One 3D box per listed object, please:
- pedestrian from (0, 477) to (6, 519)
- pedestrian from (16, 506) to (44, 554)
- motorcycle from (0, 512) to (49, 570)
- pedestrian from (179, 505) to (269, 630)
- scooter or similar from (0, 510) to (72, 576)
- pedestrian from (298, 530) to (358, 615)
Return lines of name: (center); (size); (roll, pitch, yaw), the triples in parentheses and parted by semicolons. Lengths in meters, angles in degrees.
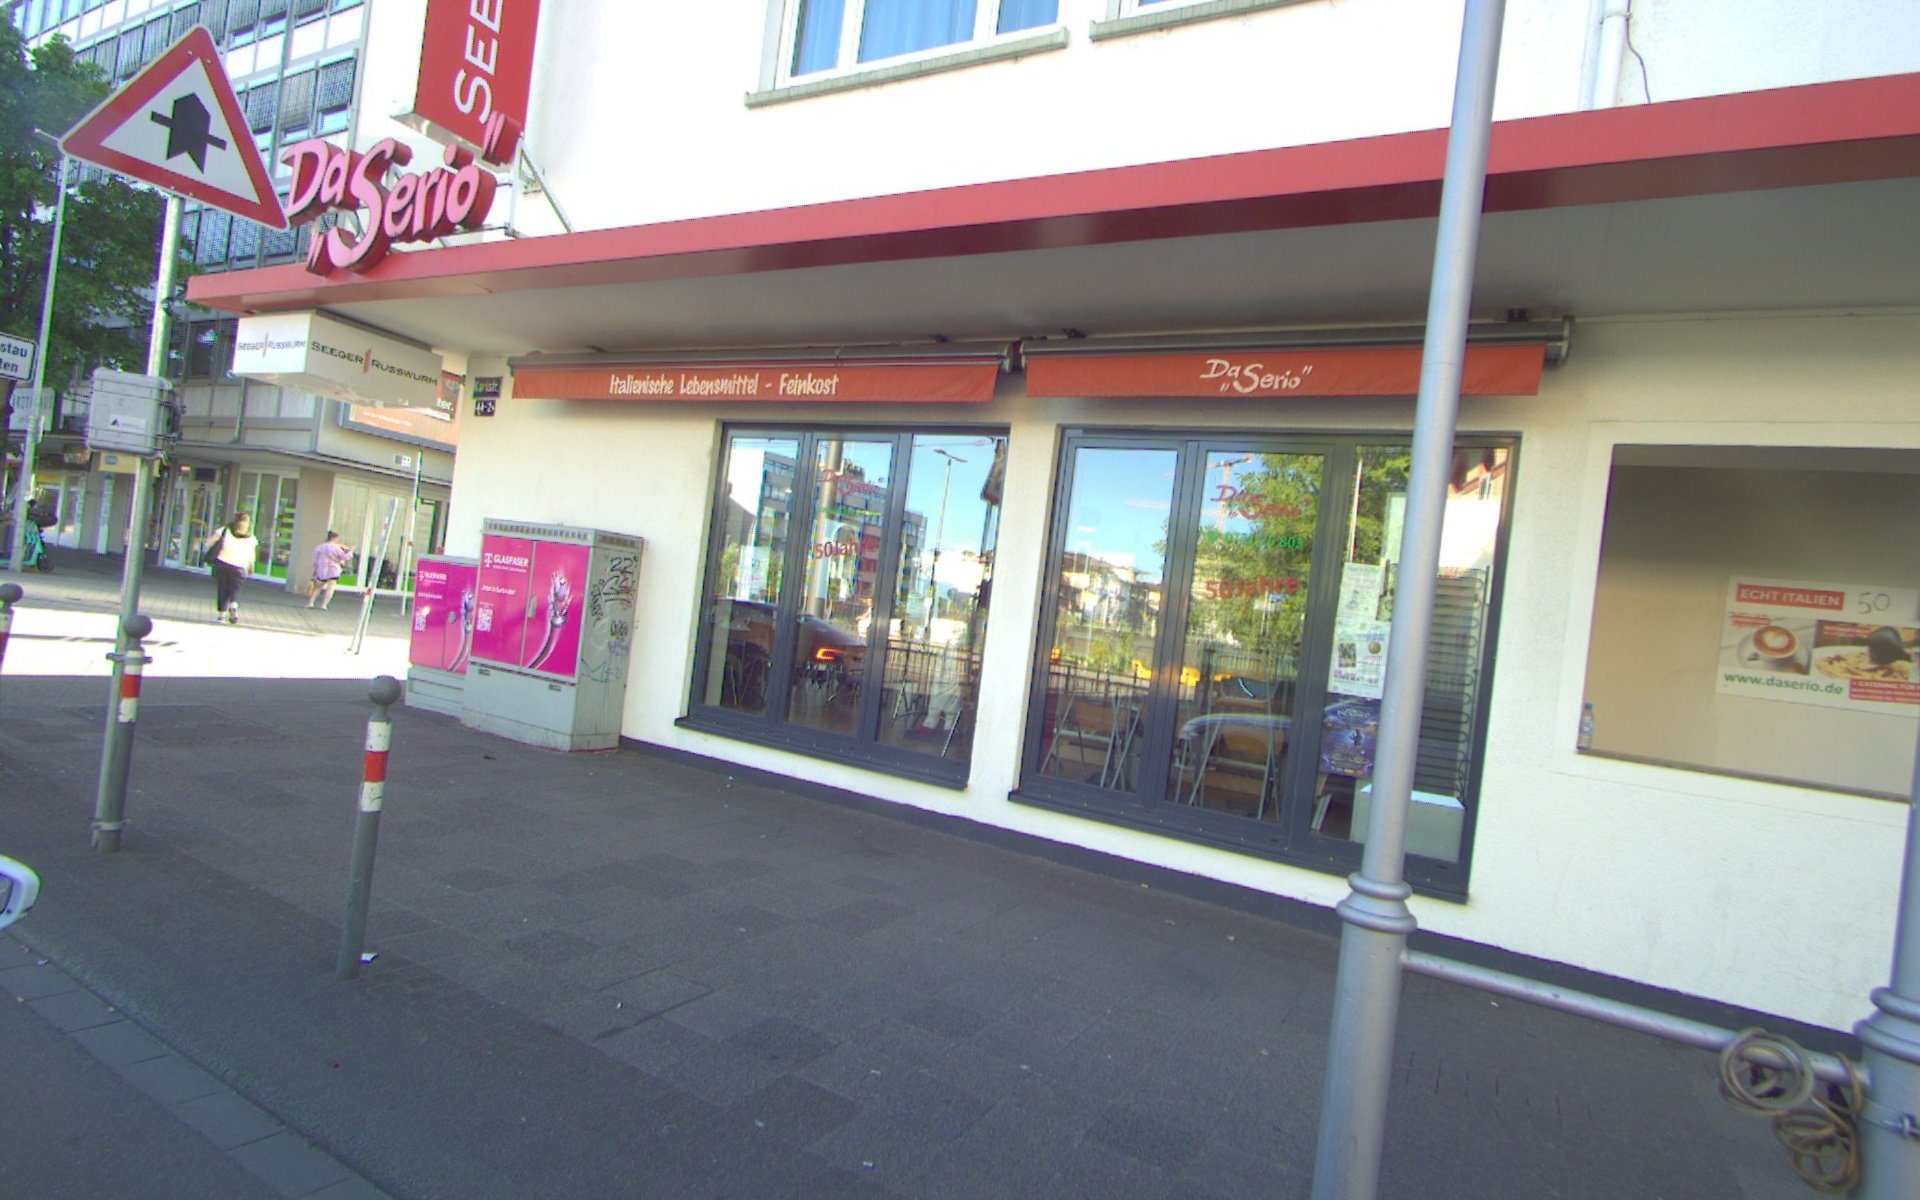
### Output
pedestrian: (-28.710, -2.666, 29.565); (0.570, 2.037, 0.663); (6, -1, 34)
pedestrian: (-28.080, -2.121, 30.366); (0.504, 1.359, 0.390); (6, -1, 34)
motorcycle: (-21.568, -1.394, 22.405); (0.532, 1.186, 1.711); (7, -2, 30)
pedestrian: (-11.371, -0.496, 15.588); (0.909, 1.772, 1.029); (8, -1, -35)
scooter or similar: (-19.937, -1.235, 21.176); (1.628, 1.229, 0.640); (8, -1, -29)
pedestrian: (-13.553, -0.588, 21.563); (0.884, 1.687, 0.801); (8, -1, -35)
